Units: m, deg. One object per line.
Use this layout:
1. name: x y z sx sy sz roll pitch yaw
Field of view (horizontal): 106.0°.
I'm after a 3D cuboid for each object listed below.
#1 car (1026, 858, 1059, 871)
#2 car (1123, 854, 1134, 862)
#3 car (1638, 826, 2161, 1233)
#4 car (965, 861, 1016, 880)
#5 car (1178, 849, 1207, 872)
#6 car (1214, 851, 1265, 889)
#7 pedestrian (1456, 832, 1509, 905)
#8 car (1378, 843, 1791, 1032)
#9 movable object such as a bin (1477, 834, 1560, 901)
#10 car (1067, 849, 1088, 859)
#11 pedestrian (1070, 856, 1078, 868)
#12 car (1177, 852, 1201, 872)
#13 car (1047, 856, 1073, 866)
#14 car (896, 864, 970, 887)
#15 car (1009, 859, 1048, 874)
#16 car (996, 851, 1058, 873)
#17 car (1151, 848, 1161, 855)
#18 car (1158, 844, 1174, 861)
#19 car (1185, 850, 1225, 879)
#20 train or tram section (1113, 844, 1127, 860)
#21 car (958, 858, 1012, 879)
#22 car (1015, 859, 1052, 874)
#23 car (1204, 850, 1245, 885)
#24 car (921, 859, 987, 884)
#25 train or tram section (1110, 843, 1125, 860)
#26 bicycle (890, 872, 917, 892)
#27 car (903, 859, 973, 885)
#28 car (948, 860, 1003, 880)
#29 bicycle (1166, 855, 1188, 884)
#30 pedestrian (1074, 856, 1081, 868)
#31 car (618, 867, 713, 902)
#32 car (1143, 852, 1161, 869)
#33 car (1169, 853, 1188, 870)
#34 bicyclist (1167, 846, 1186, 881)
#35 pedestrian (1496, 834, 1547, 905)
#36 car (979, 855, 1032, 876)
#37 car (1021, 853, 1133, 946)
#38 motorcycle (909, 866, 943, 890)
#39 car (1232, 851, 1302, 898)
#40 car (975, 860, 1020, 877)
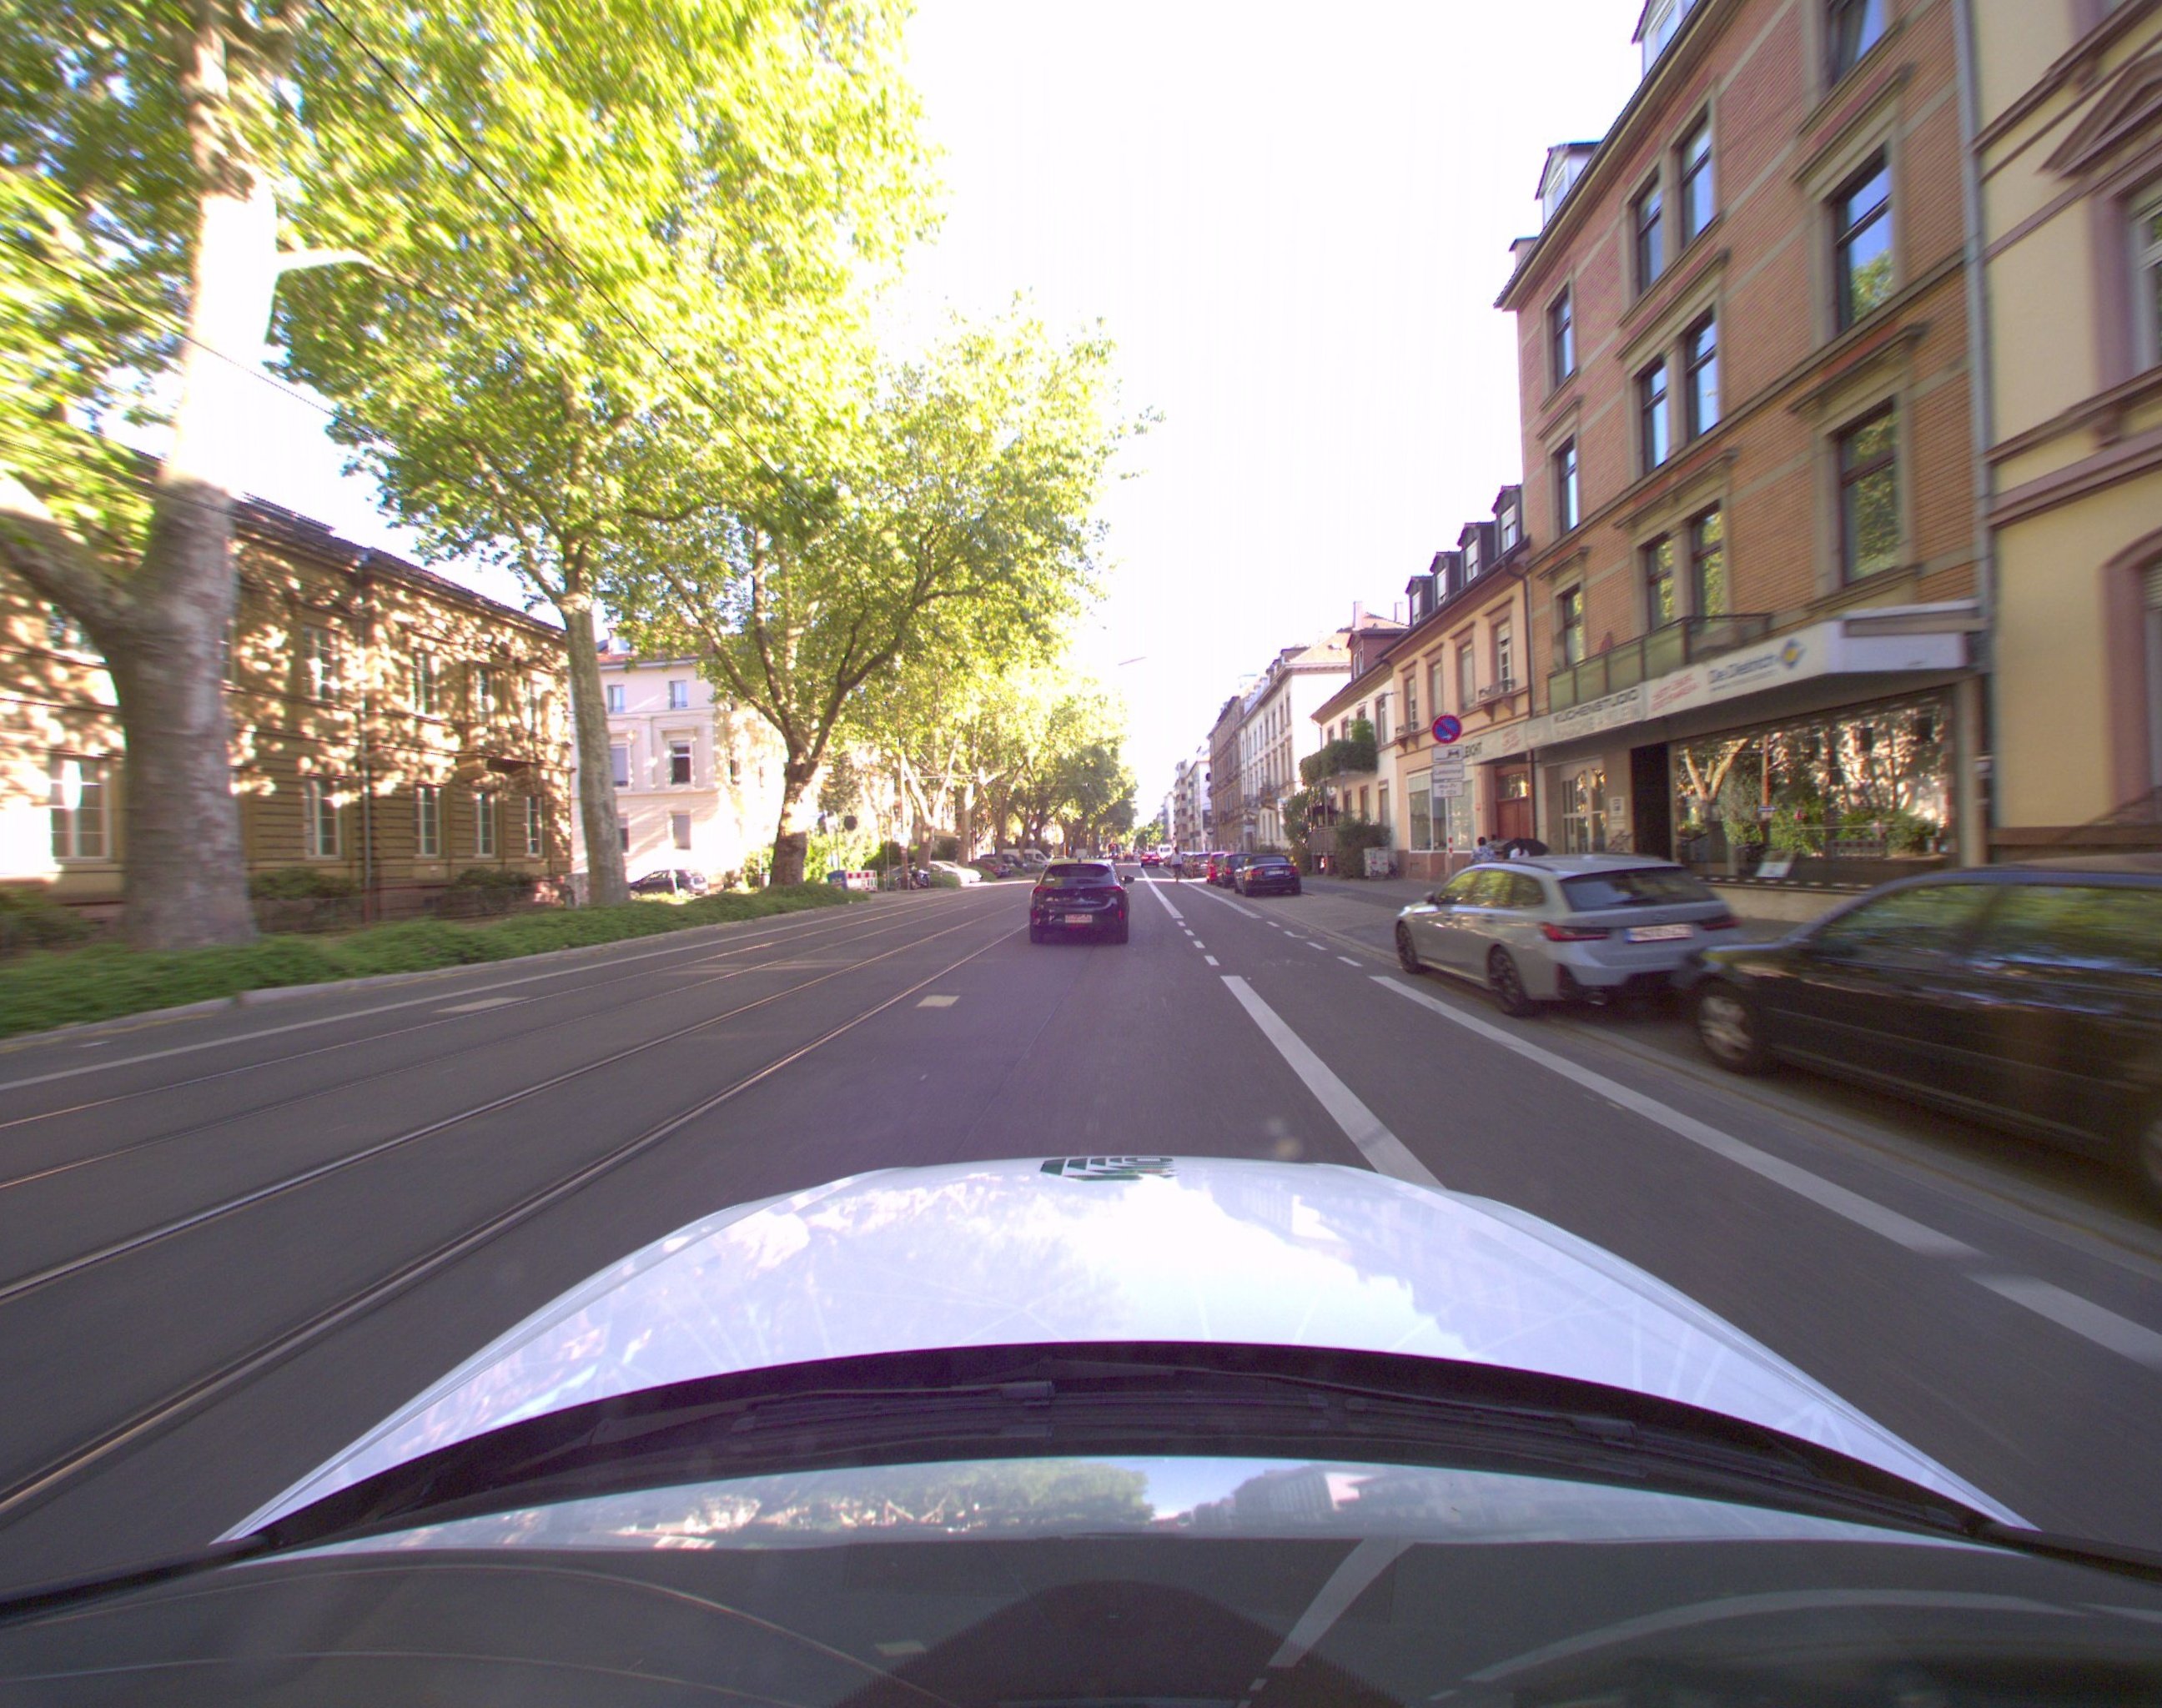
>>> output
1. car: -4.716 1.324 100.078 3.906 1.577 1.677 0 -1 1
2. car: 8.129 0.710 138.564 1.801 1.338 3.938 -2 0 5
3. car: 4.938 0.645 4.128 1.637 1.434 4.035 -5 -1 5
4. car: -7.378 1.339 66.539 3.905 1.421 1.819 0 -1 2
5. car: 8.265 0.491 60.670 1.871 1.456 4.031 -5 -1 5
6. car: 6.828 0.661 35.424 1.643 1.456 3.872 -3 0 4
7. pedestrian: 8.652 0.304 17.581 0.657 1.505 0.867 -3 -1 3
8. car: 4.919 0.691 8.931 1.802 1.435 4.669 -3 -1 3
9. movable object such as a bin: 10.420 0.312 19.459 1.288 1.520 1.287 -2 0 3
10. car: -0.714 0.009 152.315 3.906 1.790 1.677 0 -1 1
11. pedestrian: -0.945 1.116 108.916 0.769 1.567 0.676 -1 -1 -20
12. car: 8.805 0.630 66.625 1.702 1.483 3.769 -5 -1 5
13. car: -3.125 1.096 121.954 3.906 1.498 1.677 0 -1 1
14. car: -8.674 1.265 47.982 3.902 1.332 1.850 0 -1 4
15. car: -5.492 1.295 85.450 3.901 1.498 1.679 0 -1 5
16. car: -5.950 0.864 91.051 6.598 2.409 2.460 0 -1 4
17. car: 15.527 -0.526 168.227 1.801 1.338 3.938 -5 -1 5
18. car: 12.257 -0.269 117.907 2.066 2.219 4.940 -5 -1 5
19. car: 7.752 0.667 51.273 1.874 1.586 3.933 -5 -1 1
20. train or tram section: 9.497 -0.552 198.108 2.722 3.682 12.733 -3 0 5
21. car: -7.538 1.114 64.140 3.977 1.627 1.881 0 -1 3
22. car: -5.144 1.343 88.377 3.905 1.498 1.678 0 -1 1
23. car: 7.000 0.624 39.946 1.627 1.546 3.581 -3 0 5
24. car: -8.318 1.155 53.364 3.902 1.462 1.807 -2 -1 4
25. train or tram section: 8.358 -0.603 185.497 2.722 3.682 12.733 -3 0 5
26. bicycle: -9.173 1.460 42.158 0.537 0.940 2.040 -2 0 12
27. car: -8.857 1.108 50.595 3.904 1.453 1.802 -2 -1 3
28. car: -7.998 1.204 62.002 3.902 1.442 1.751 0 -1 4
29. bicycle: 4.847 0.760 41.269 0.857 1.407 2.526 -2 0 3
30. pedestrian: -0.439 1.106 109.834 0.769 1.567 0.676 -1 -1 -20
31. car: -20.525 1.484 40.315 3.759 1.418 1.697 -3 2 4
32. car: 7.753 0.742 89.087 1.801 1.742 3.938 -2 0 5
33. car: 9.652 0.739 80.353 1.696 1.456 3.704 -5 -1 7
34. bicyclist: 4.833 0.461 41.314 0.844 1.740 1.163 -2 0 3
35. pedestrian: 9.456 0.322 17.510 0.655 1.483 0.786 -2 -1 3
36. car: -7.016 1.062 75.974 4.653 1.924 1.983 0 -1 5
37. car: 0.045 0.749 15.062 1.786 1.441 3.535 -2 0 4
38. motorcycle: -8.040 1.236 42.315 0.878 1.147 2.398 -2 0 12
39. car: 6.316 0.647 28.092 1.686 1.392 4.501 -3 0 5
40. car: -7.447 1.321 73.059 3.718 1.498 1.748 0 -1 3
